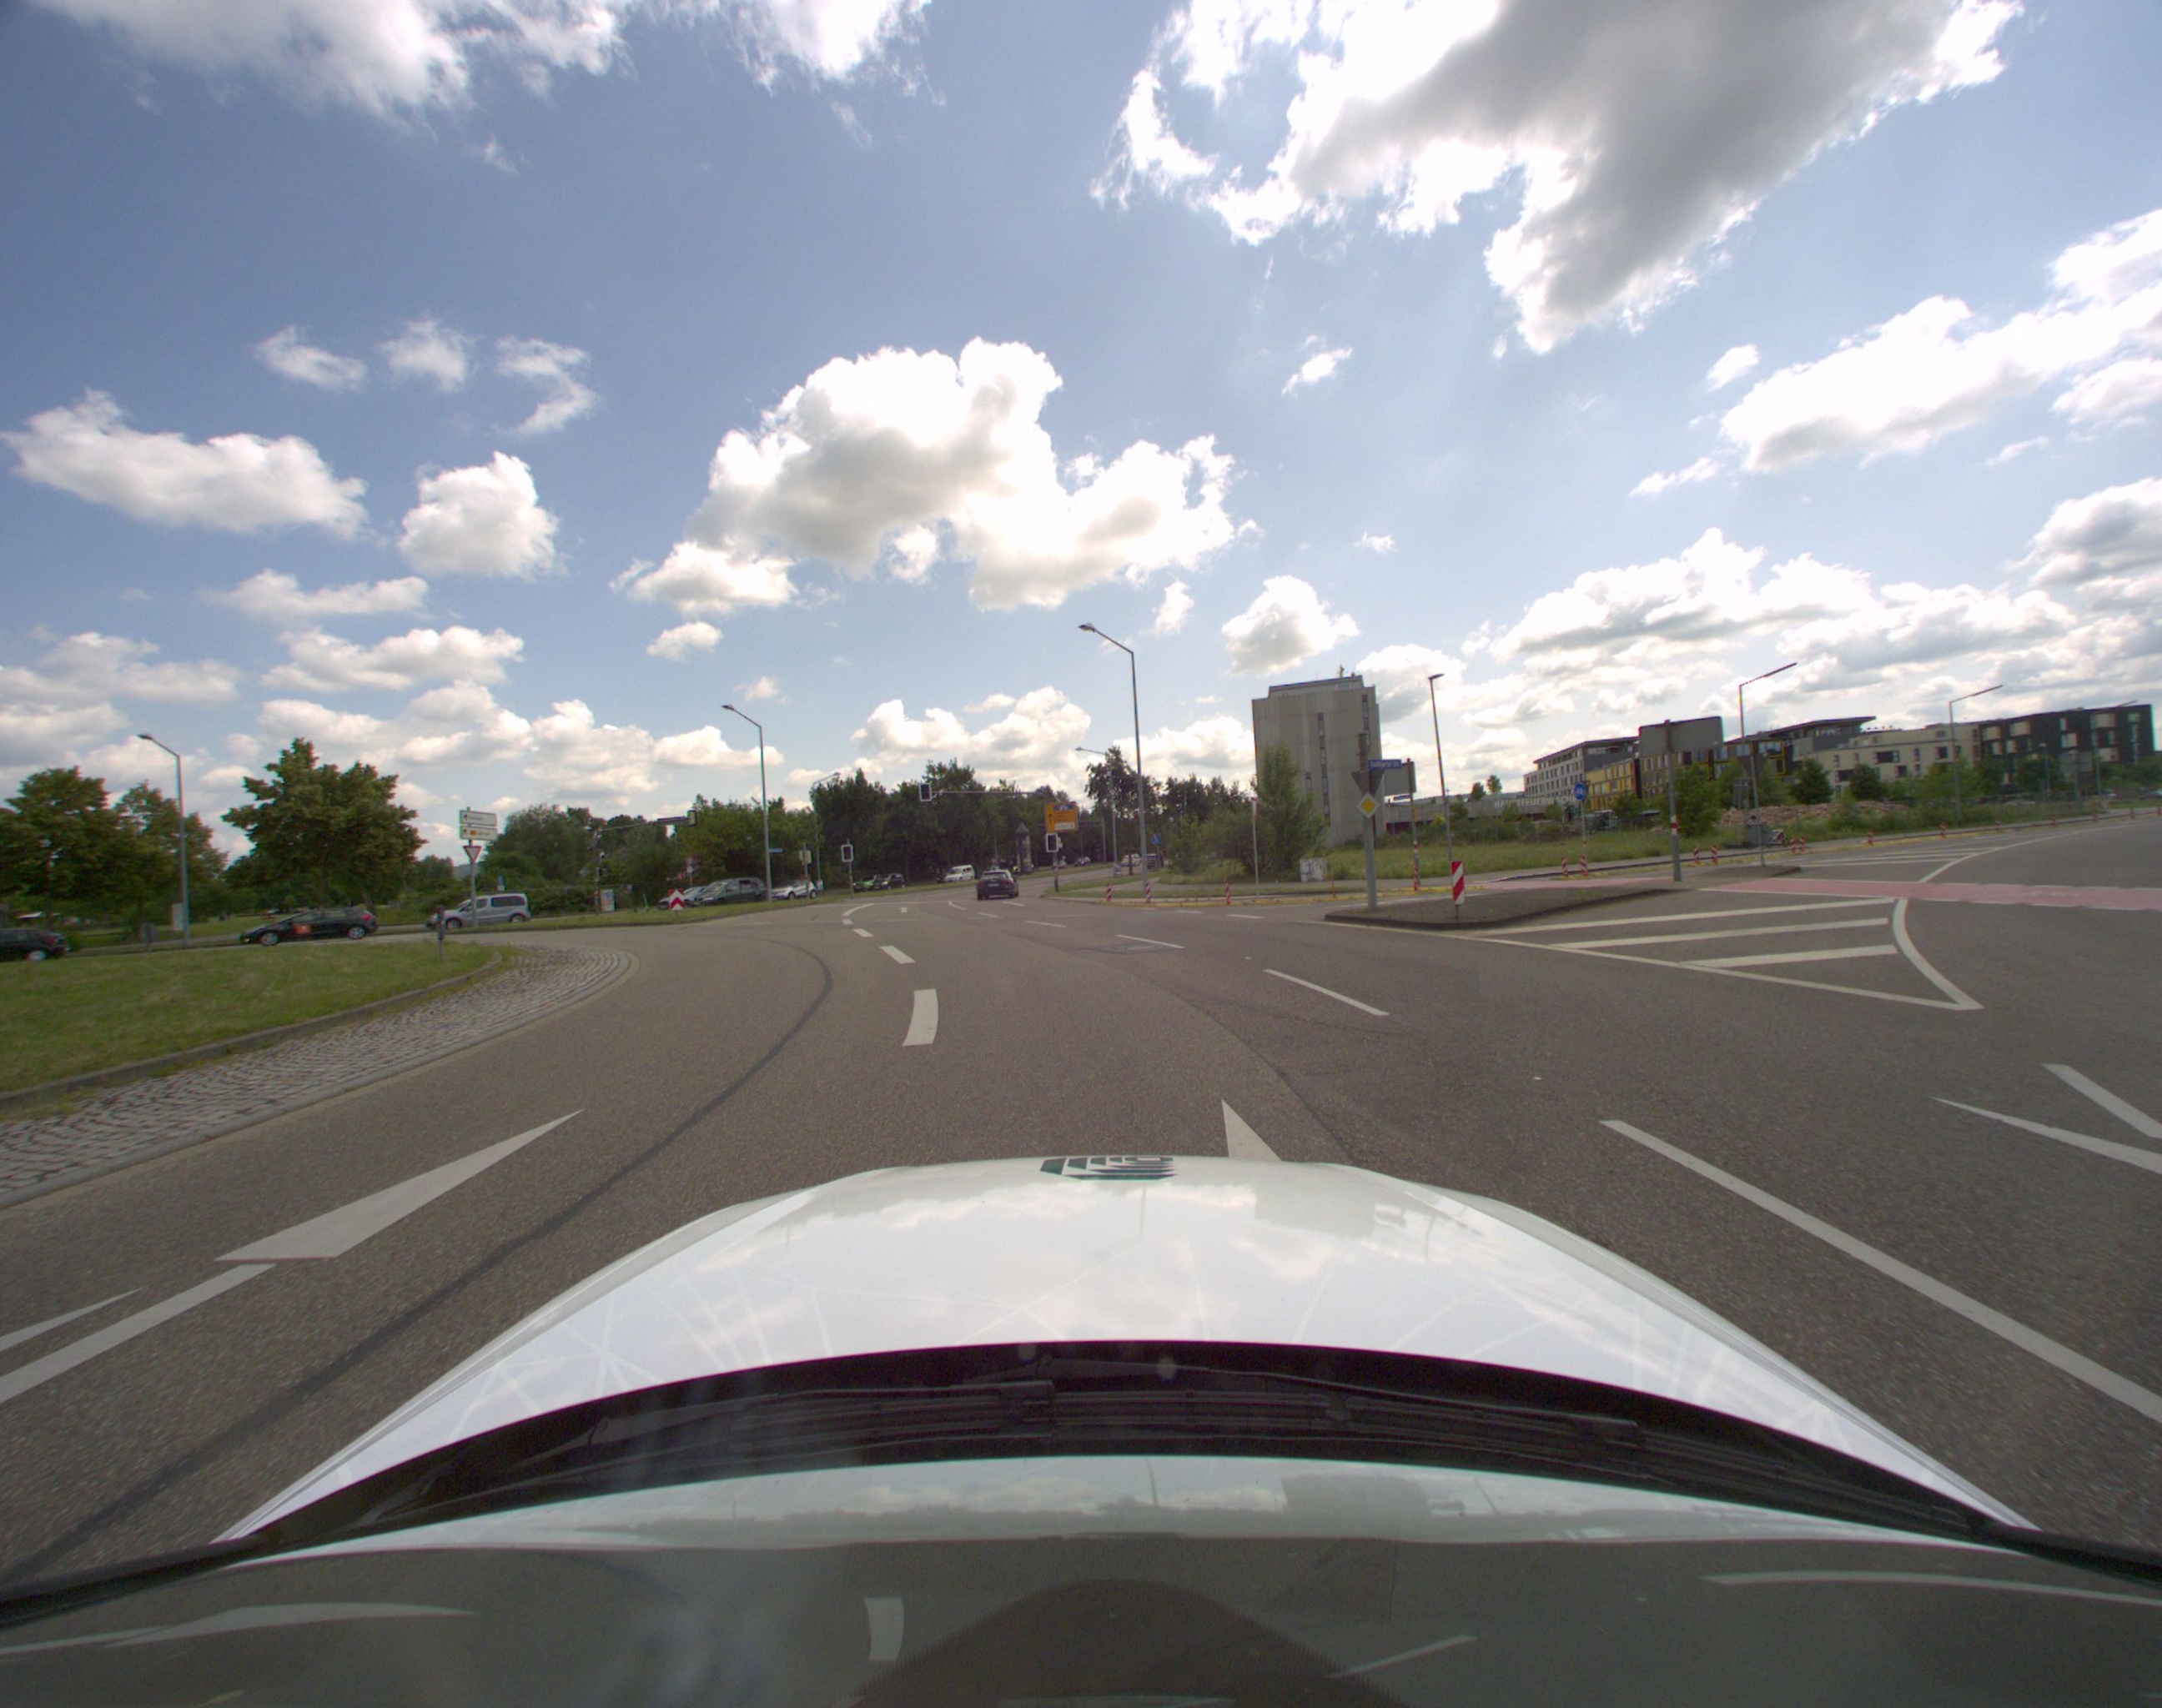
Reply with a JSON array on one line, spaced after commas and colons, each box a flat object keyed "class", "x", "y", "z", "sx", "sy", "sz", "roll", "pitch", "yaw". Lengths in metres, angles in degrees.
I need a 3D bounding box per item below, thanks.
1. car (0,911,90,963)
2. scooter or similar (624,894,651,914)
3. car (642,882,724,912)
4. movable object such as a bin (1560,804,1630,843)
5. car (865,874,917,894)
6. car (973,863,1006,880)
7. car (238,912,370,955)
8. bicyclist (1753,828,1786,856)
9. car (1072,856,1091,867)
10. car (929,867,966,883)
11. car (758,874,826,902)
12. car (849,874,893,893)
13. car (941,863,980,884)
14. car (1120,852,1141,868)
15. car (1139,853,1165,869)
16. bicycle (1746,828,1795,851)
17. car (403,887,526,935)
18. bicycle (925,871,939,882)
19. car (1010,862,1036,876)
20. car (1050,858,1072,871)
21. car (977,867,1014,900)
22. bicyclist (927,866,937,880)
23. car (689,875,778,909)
[{"class": "car", "x": -43.870, "y": 3.465, "z": 32.828, "sx": 4.689, "sy": 1.820, "sz": 2.099, "roll": -4, "pitch": 0, "yaw": -43}, {"class": "scooter or similar", "x": -28.666, "y": 3.246, "z": 52.639, "sx": 0.536, "sy": 1.166, "sz": 1.448, "roll": -3, "pitch": 0, "yaw": 20}, {"class": "car", "x": -23.816, "y": 2.537, "z": 48.914, "sx": 1.889, "sy": 1.423, "sz": 4.214, "roll": -4, "pitch": 0, "yaw": 21}, {"class": "movable object such as a bin", "x": 54.273, "y": -3.188, "z": 85.939, "sx": 7.641, "sy": 3.853, "sz": 3.019, "roll": -1, "pitch": -1, "yaw": -31}, {"class": "car", "x": -15.825, "y": 2.456, "z": 68.158, "sx": 1.823, "sy": 1.310, "sz": 4.811, "roll": -6, "pitch": -1, "yaw": 19}, {"class": "car", "x": -9.972, "y": 1.887, "z": 89.039, "sx": 1.824, "sy": 1.480, "sz": 4.774, "roll": -6, "pitch": -1, "yaw": 16}, {"class": "car", "x": -33.712, "y": 3.412, "z": 35.414, "sx": 1.780, "sy": 1.340, "sz": 4.004, "roll": -5, "pitch": -1, "yaw": 45}, {"class": "bicyclist", "x": 33.139, "y": -0.567, "z": 39.194, "sx": 0.812, "sy": 1.325, "sz": 0.871, "roll": -1, "pitch": -1, "yaw": -18}, {"class": "car", "x": 0.126, "y": 1.175, "z": 135.403, "sx": 1.750, "sy": 1.577, "sz": 5.053, "roll": -5, "pitch": 0, "yaw": 16}, {"class": "car", "x": -14.289, "y": 2.227, "z": 87.161, "sx": 1.822, "sy": 1.443, "sz": 4.442, "roll": -6, "pitch": -1, "yaw": 20}, {"class": "car", "x": -21.424, "y": 2.485, "z": 60.674, "sx": 1.976, "sy": 1.686, "sz": 4.814, "roll": -4, "pitch": 0, "yaw": 22}, {"class": "car", "x": -18.296, "y": 2.516, "z": 71.099, "sx": 1.603, "sy": 1.348, "sz": 4.189, "roll": -6, "pitch": -1, "yaw": 17}, {"class": "car", "x": -12.069, "y": 1.964, "z": 81.725, "sx": 1.823, "sy": 1.799, "sz": 4.809, "roll": -6, "pitch": -1, "yaw": 17}, {"class": "car", "x": 6.523, "y": 0.785, "z": 107.258, "sx": 1.979, "sy": 2.013, "sz": 4.015, "roll": -2, "pitch": 0, "yaw": 14}, {"class": "car", "x": 8.155, "y": 0.769, "z": 93.512, "sx": 1.977, "sy": 1.626, "sz": 4.330, "roll": -3, "pitch": 0, "yaw": 19}, {"class": "bicycle", "x": 33.262, "y": -0.711, "z": 39.282, "sx": 2.549, "sy": 1.017, "sz": 0.868, "roll": -1, "pitch": -1, "yaw": -27}, {"class": "car", "x": -32.086, "y": 2.907, "z": 42.453, "sx": 1.975, "sy": 2.013, "sz": 4.816, "roll": -4, "pitch": 0, "yaw": 45}, {"class": "bicycle", "x": -17.707, "y": 2.635, "z": 96.728, "sx": 0.755, "sy": 1.219, "sz": 2.025, "roll": -2, "pitch": 0, "yaw": 16}, {"class": "car", "x": -7.614, "y": 1.977, "z": 107.411, "sx": 1.895, "sy": 1.540, "sz": 4.387, "roll": -5, "pitch": 0, "yaw": 16}, {"class": "car", "x": -2.854, "y": 1.519, "z": 119.816, "sx": 1.709, "sy": 1.591, "sz": 5.034, "roll": -5, "pitch": -1, "yaw": 16}, {"class": "car", "x": -4.220, "y": 1.401, "z": 40.252, "sx": 1.682, "sy": 1.463, "sz": 3.991, "roll": -2, "pitch": 0, "yaw": -6}, {"class": "bicyclist", "x": -17.732, "y": 2.267, "z": 96.661, "sx": 0.823, "sy": 1.565, "sz": 0.887, "roll": -2, "pitch": 0, "yaw": 16}, {"class": "car", "x": -19.580, "y": 2.095, "z": 46.093, "sx": 1.891, "sy": 1.592, "sz": 4.616, "roll": -4, "pitch": -1, "yaw": 21}]
